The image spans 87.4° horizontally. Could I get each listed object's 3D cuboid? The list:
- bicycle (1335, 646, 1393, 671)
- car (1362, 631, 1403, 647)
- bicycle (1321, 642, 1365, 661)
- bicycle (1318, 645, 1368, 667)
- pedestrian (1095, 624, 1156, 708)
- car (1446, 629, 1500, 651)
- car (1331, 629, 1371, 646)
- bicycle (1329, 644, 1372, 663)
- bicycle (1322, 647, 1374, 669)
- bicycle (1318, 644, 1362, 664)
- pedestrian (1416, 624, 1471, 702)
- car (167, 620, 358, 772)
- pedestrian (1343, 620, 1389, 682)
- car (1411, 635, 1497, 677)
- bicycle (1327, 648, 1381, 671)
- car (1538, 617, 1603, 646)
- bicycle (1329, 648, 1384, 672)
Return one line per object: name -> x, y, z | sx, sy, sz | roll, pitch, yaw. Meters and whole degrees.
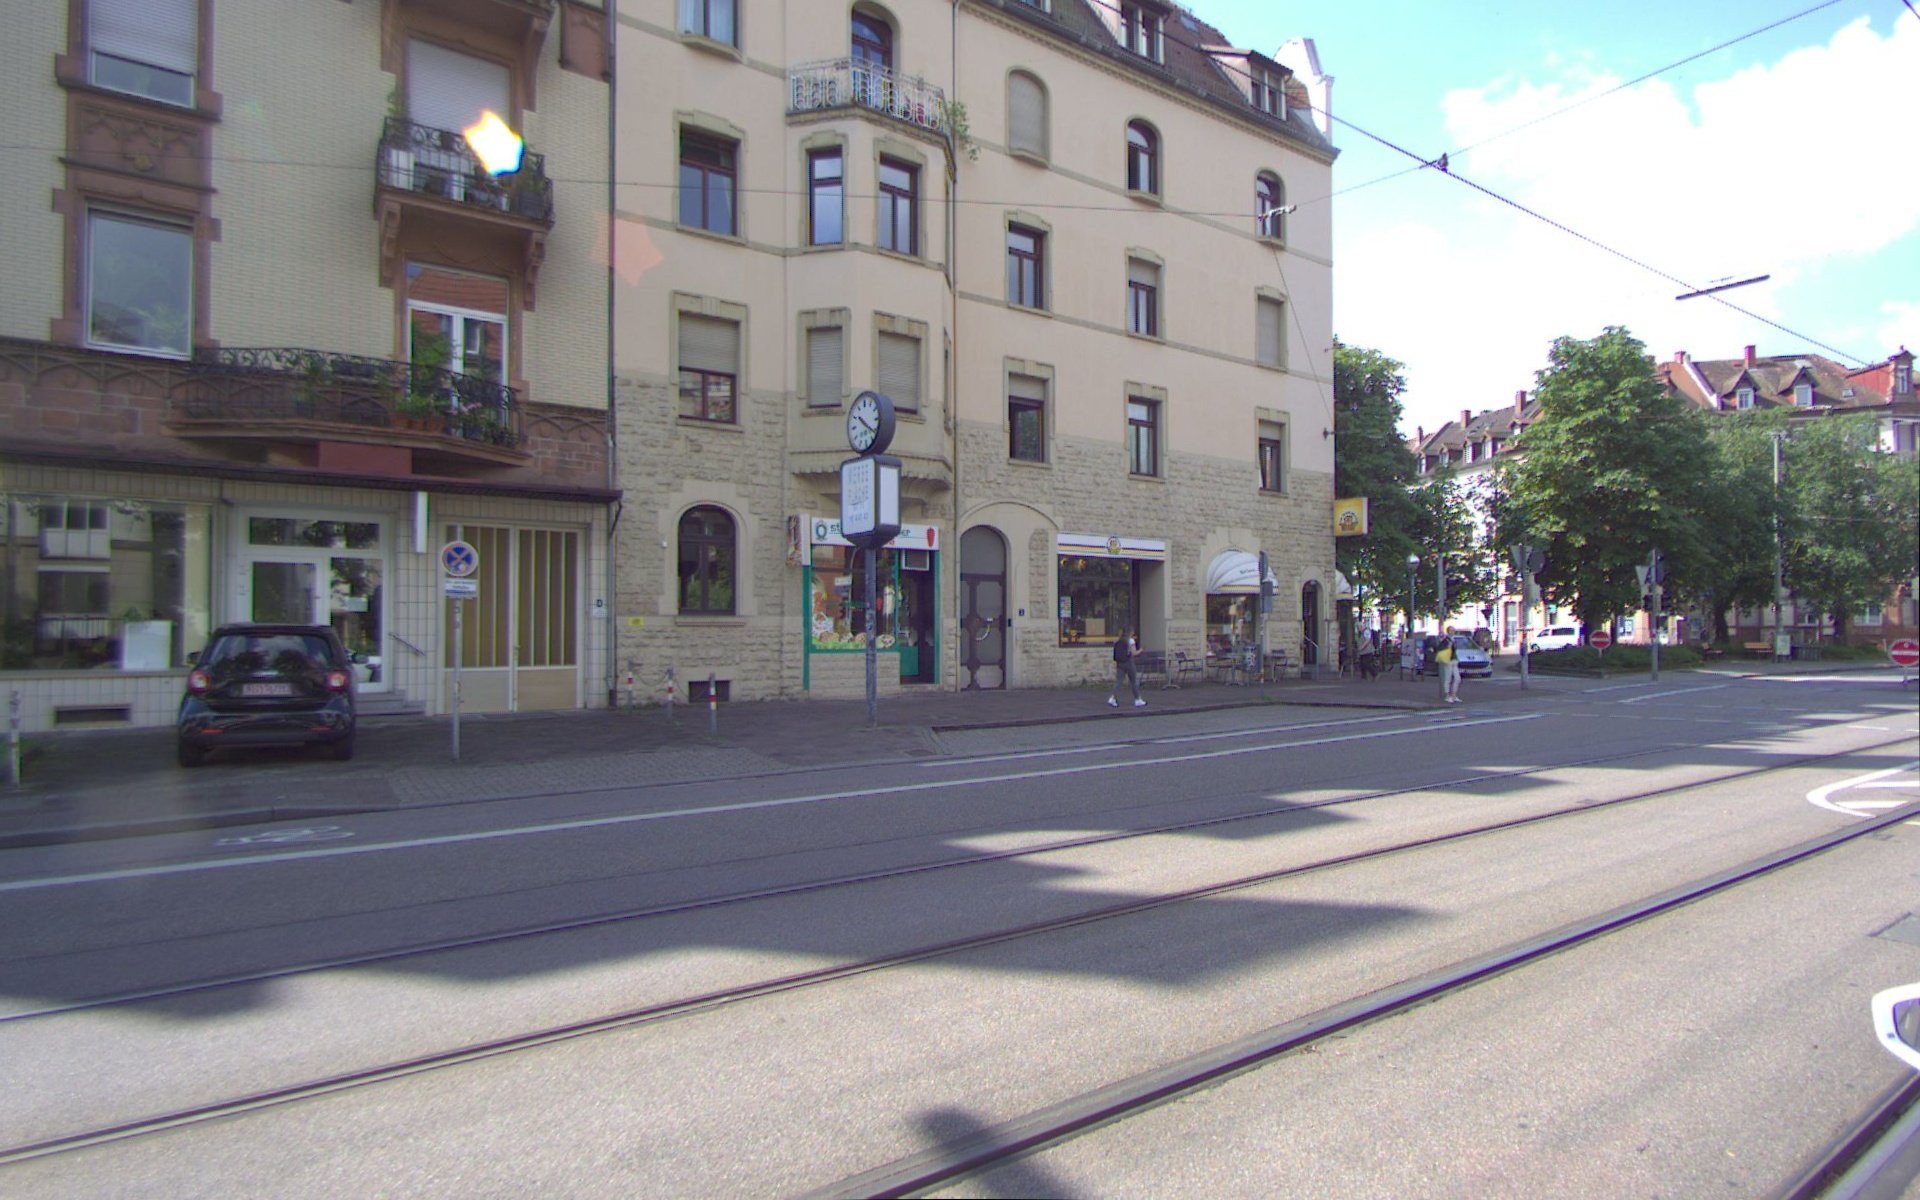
bicycle -> 15.450, 2.246, 38.445 | 1.990, 0.894, 0.523 | 1, -1, 12
car -> 38.682, 3.564, 92.072 | 1.602, 1.513, 3.638 | 0, -2, -13
bicycle -> 18.872, 2.529, 49.447 | 1.992, 0.910, 0.572 | 0, -2, 23
bicycle -> 16.749, 2.448, 43.950 | 1.990, 0.894, 0.547 | 1, -1, 12
pedestrian -> 3.272, 1.275, 19.837 | 0.957, 1.562, 0.687 | 0, 3, -44
car -> 41.564, 3.234, 81.450 | 1.882, 1.685, 3.933 | 0, -2, -11
car -> 37.640, 3.614, 96.782 | 1.687, 1.575, 3.912 | 0, -2, -12
bicycle -> 20.307, 2.782, 52.232 | 1.994, 0.910, 0.571 | 0, -2, 29
bicycle -> 16.319, 2.437, 42.286 | 1.990, 0.894, 0.512 | 1, -1, 12
bicycle -> 18.283, 2.597, 48.328 | 1.992, 0.910, 0.546 | 1, -2, 22
pedestrian -> 11.174, 1.440, 23.219 | 0.865, 1.727, 0.751 | 1, 2, -35
car -> -8.429, 1.039, 12.350 | 1.688, 1.506, 3.425 | 1, 0, -32
pedestrian -> 11.385, 1.411, 28.166 | 0.809, 1.694, 0.854 | 0, -2, -19
car -> 17.698, 1.982, 36.164 | 1.686, 1.439, 3.876 | -1, -2, 9
bicycle -> 16.051, 2.419, 40.959 | 1.990, 0.894, 0.512 | 1, -1, 12
car -> 43.523, 2.268, 71.705 | 1.823, 2.015, 3.941 | 0, -2, -10
bicycle -> 15.688, 2.356, 39.774 | 1.990, 0.894, 0.512 | 1, -1, 12
